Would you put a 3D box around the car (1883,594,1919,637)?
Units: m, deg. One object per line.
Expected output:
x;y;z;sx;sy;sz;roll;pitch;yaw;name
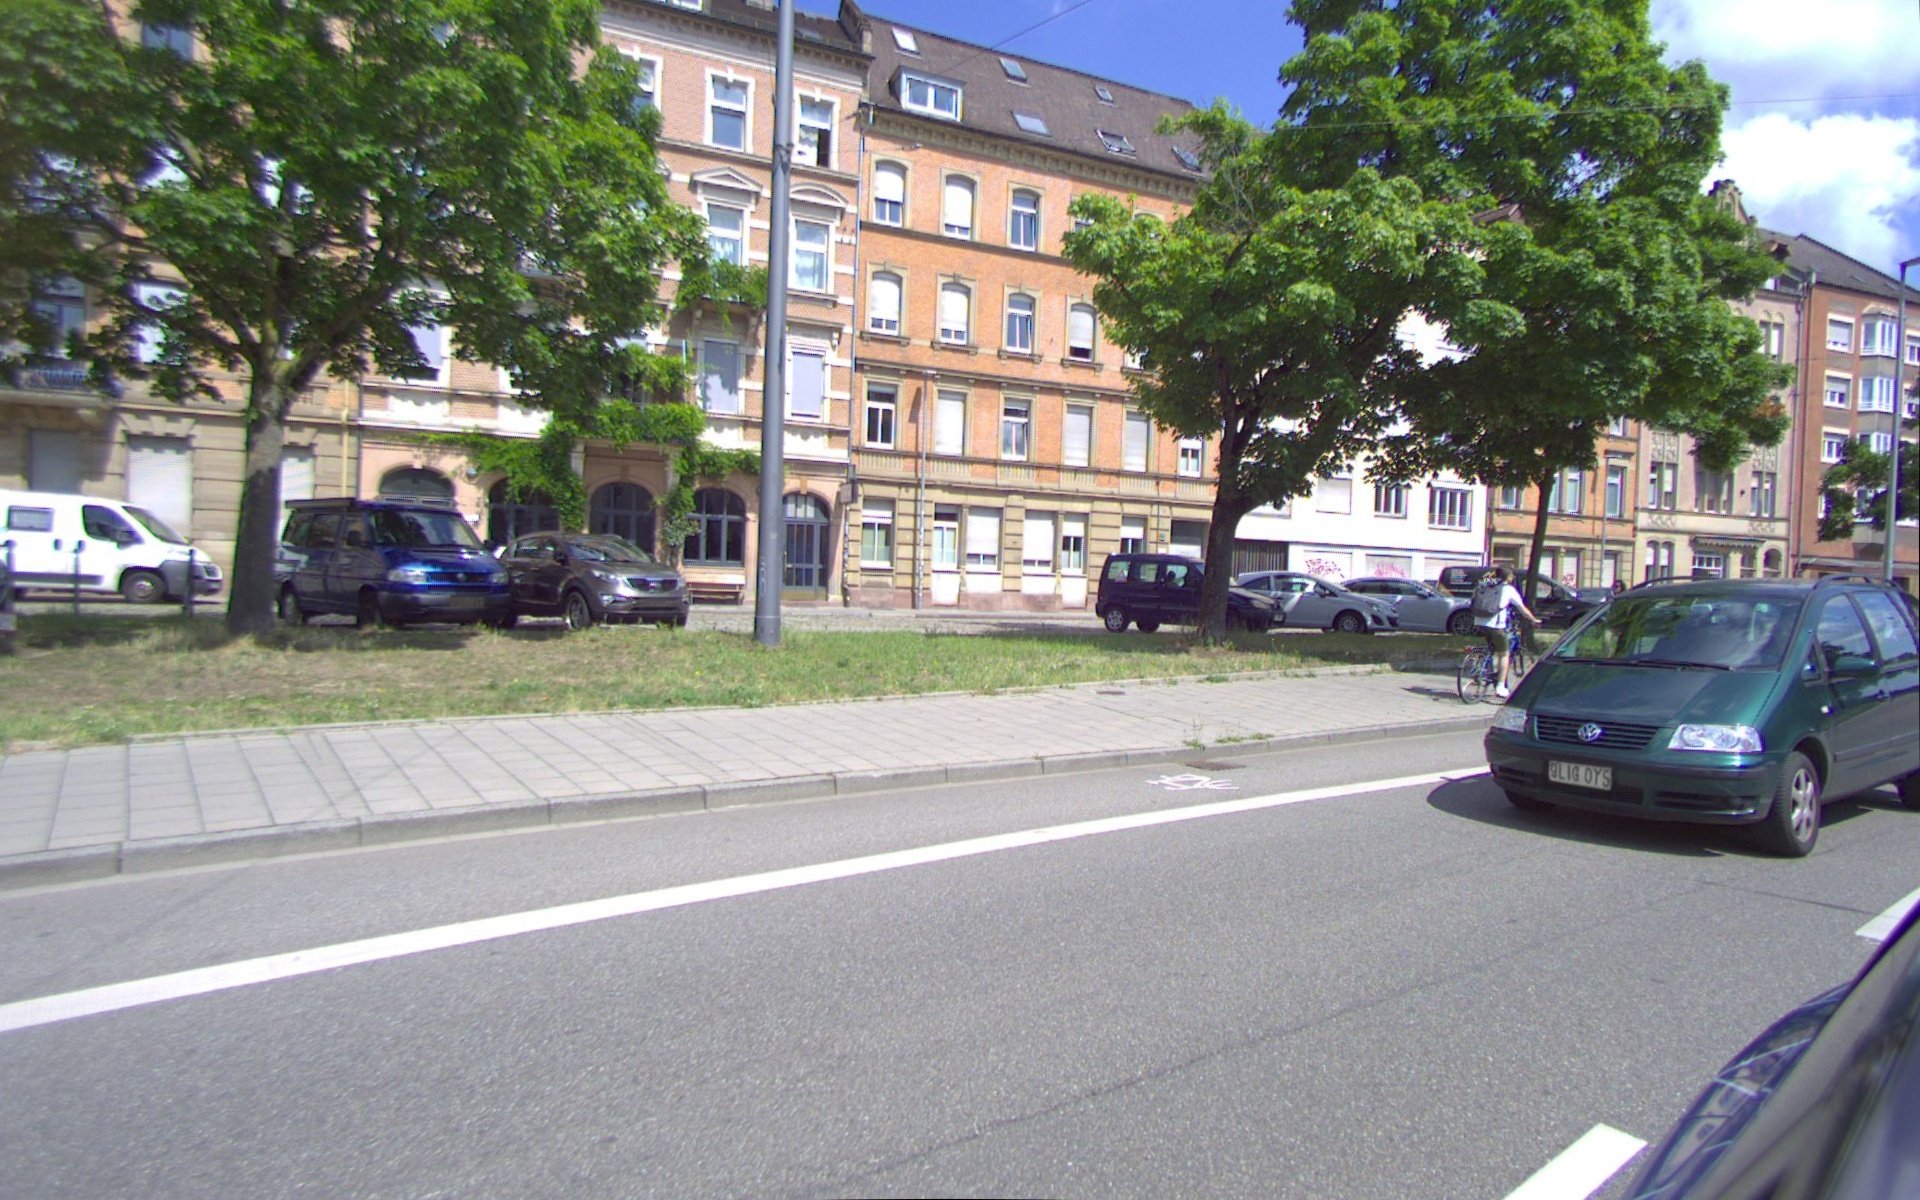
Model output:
32.991;0.533;33.025;3.975;1.397;1.936;1;1;36;car

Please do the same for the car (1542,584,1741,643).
17.900;0.309;26.833;4.237;1.397;1.831;1;1;33;car

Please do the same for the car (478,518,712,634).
-6.114;-0.392;16.732;4.159;1.677;1.887;2;1;42;car

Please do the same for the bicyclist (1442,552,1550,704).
6.971;0.342;13.174;0.937;1.845;0.698;0;6;-32;bicyclist

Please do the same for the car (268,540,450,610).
-13.474;-0.554;22.884;3.280;1.420;1.572;1;1;-19;car

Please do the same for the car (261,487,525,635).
-8.774;-0.567;15.509;4.605;1.951;1.890;2;1;38;car

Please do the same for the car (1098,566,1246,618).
6.531;-0.240;31.212;4.138;1.510;1.842;1;0;-22;car

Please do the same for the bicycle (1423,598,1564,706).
6.975;0.639;13.213;1.803;1.256;0.697;0;7;-32;bicycle

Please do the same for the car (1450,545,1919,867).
6.066;0.581;7.624;4.931;1.778;1.826;0;1;-30;car

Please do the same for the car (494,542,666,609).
-9.228;-0.575;24.685;3.772;1.510;1.668;1;0;-22;car

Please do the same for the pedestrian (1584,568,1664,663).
11.754;0.272;17.932;0.886;1.611;0.704;1;4;-23;pedestrian

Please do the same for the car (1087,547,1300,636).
5.022;-0.213;22.019;4.128;1.763;1.827;2;1;38;car

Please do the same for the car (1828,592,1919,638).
30.214;0.492;32.125;3.983;1.397;1.933;2;1;41;car

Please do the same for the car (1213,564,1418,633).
7.982;-0.074;22.828;4.056;1.423;1.830;1;1;34;car

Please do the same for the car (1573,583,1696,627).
26.686;0.204;40.038;4.401;1.636;1.842;1;0;-22;car

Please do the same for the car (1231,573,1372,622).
11.170;-0.070;33.076;4.138;1.510;1.842;1;0;-22;car

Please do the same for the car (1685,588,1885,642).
23.664;0.394;29.263;4.237;1.397;1.831;1;1;33;car

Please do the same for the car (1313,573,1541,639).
10.951;0.089;23.887;4.662;1.397;1.829;1;1;35;car

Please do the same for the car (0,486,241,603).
-18.178;-1.106;20.705;5.280;2.206;2.122;1;0;-22;car

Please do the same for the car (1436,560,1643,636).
14.394;-0.096;25.287;4.333;1.763;1.831;1;0;33;car
